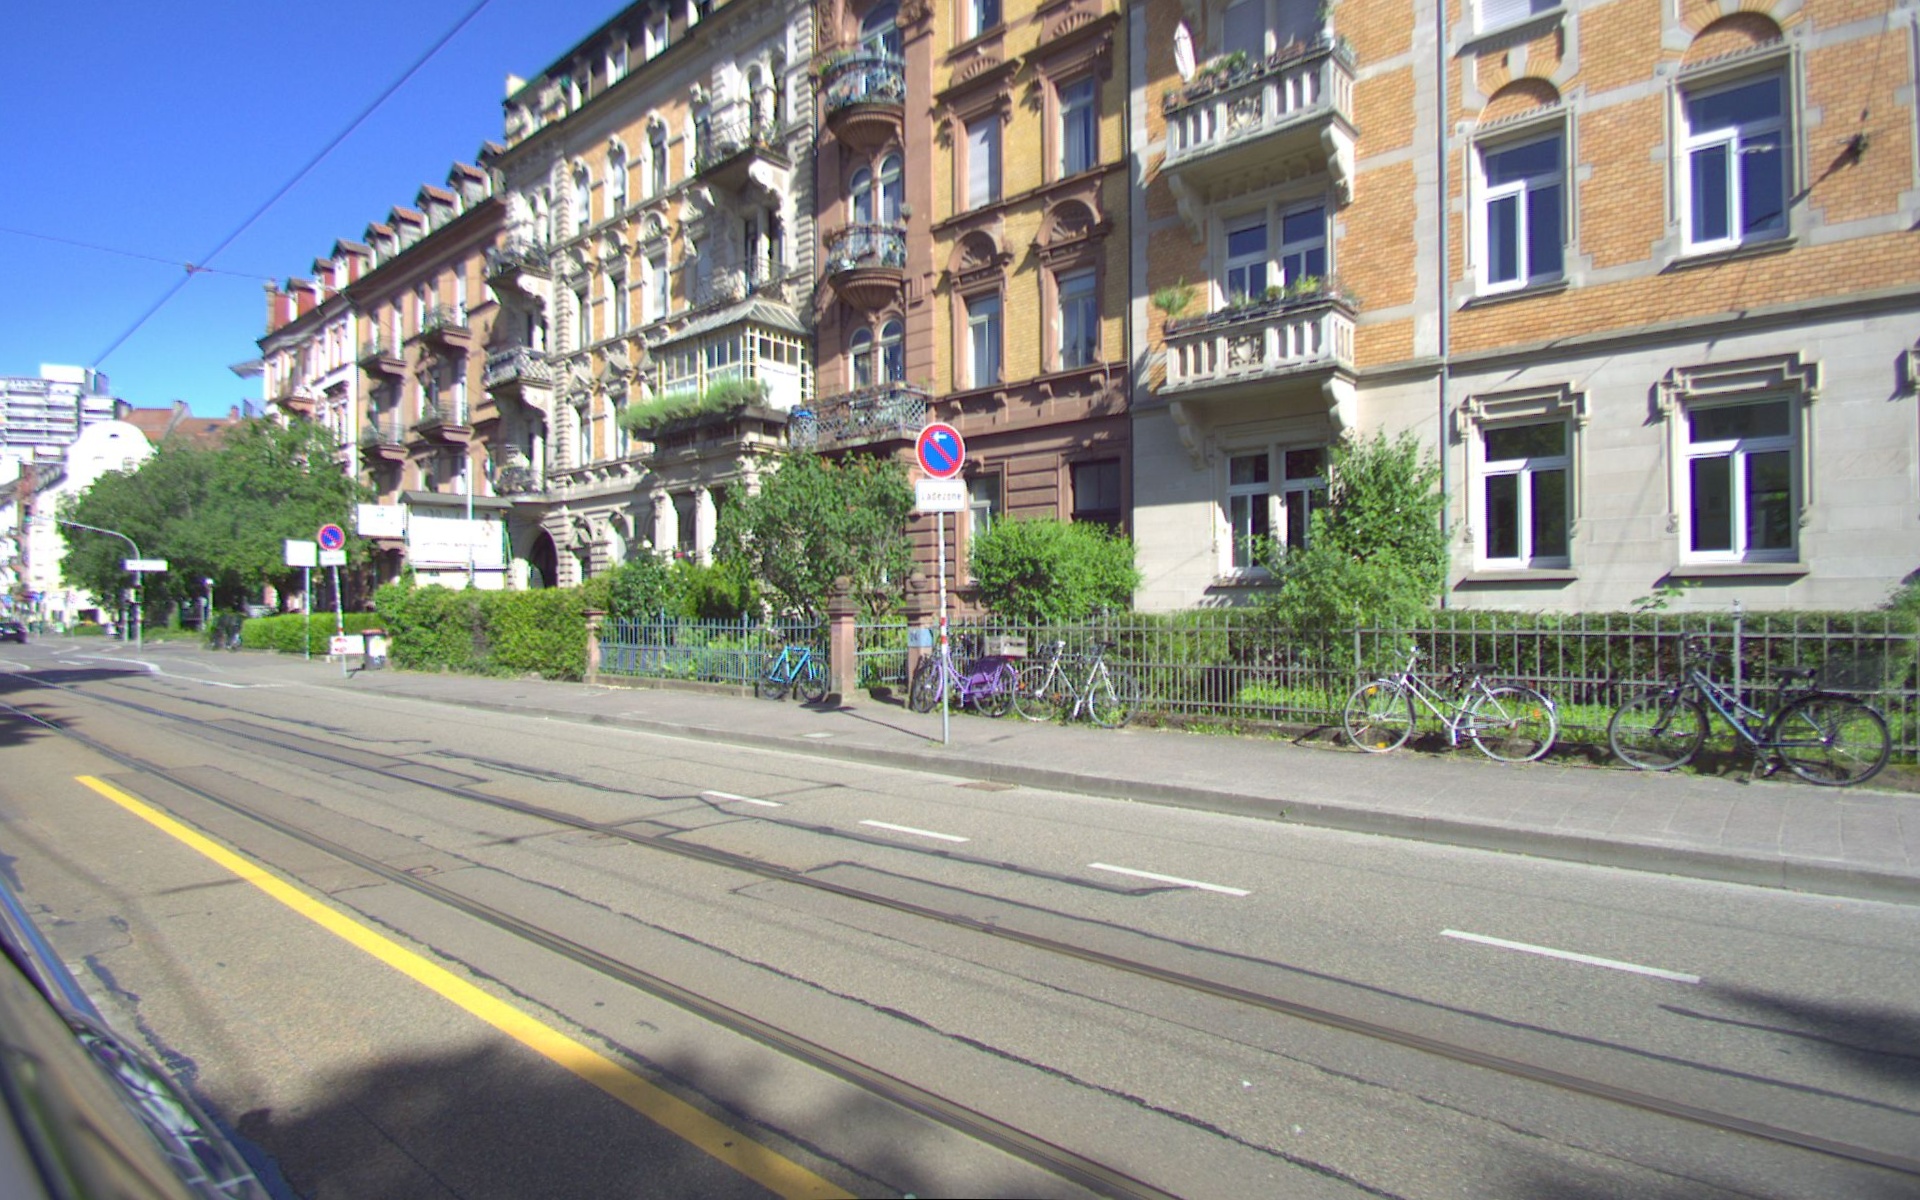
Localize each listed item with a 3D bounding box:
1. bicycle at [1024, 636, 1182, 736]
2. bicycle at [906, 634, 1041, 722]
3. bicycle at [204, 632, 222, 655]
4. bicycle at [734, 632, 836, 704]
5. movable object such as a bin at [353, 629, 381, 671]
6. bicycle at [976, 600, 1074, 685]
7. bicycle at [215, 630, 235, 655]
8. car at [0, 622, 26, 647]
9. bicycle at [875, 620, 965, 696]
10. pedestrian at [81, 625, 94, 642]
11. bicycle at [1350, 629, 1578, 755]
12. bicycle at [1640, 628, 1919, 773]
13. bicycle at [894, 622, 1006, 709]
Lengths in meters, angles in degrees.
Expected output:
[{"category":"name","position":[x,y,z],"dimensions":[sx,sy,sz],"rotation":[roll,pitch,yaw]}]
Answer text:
[{"category":"bicycle","position":[1.631,0.960,11.710],"dimensions":[1.766,1.041,0.557],"rotation":[-2,0,40]},{"category":"bicycle","position":[0.155,0.973,13.045],"dimensions":[1.766,1.041,0.557],"rotation":[-2,0,40]},{"category":"bicycle","position":[-32.207,1.851,43.638],"dimensions":[0.338,0.933,1.944],"rotation":[-2,0,-44]},{"category":"bicycle","position":[-2.750,1.049,15.801],"dimensions":[1.767,1.041,0.557],"rotation":[-3,-1,42]},{"category":"movable object such as a bin","position":[-15.943,1.333,27.211],"dimensions":[0.541,1.094,0.474],"rotation":[-1,0,43]},{"category":"bicycle","position":[1.034,0.632,15.808],"dimensions":[0.564,1.163,1.744],"rotation":[-2,2,40]},{"category":"bicycle","position":[-29.406,1.686,40.482],"dimensions":[0.338,0.933,1.944],"rotation":[-2,0,-44]},{"category":"car","position":[-64.282,2.307,67.920],"dimensions":[4.965,1.529,1.813],"rotation":[-1,1,42]},{"category":"bicycle","position":[-0.615,0.900,16.091],"dimensions":[0.479,1.041,1.559],"rotation":[-2,2,40]},{"category":"pedestrian","position":[-69.372,2.658,80.474],"dimensions":[0.724,1.291,0.650],"rotation":[-1,0,41]},{"category":"bicycle","position":[4.560,0.844,9.268],"dimensions":[1.752,1.041,0.562],"rotation":[-3,2,17]},{"category":"bicycle","position":[6.561,0.792,8.104],"dimensions":[1.745,1.041,0.564],"rotation":[-3,0,5]},{"category":"bicycle","position":[-0.114,0.894,14.425],"dimensions":[0.564,1.041,1.730],"rotation":[-2,2,40]}]
